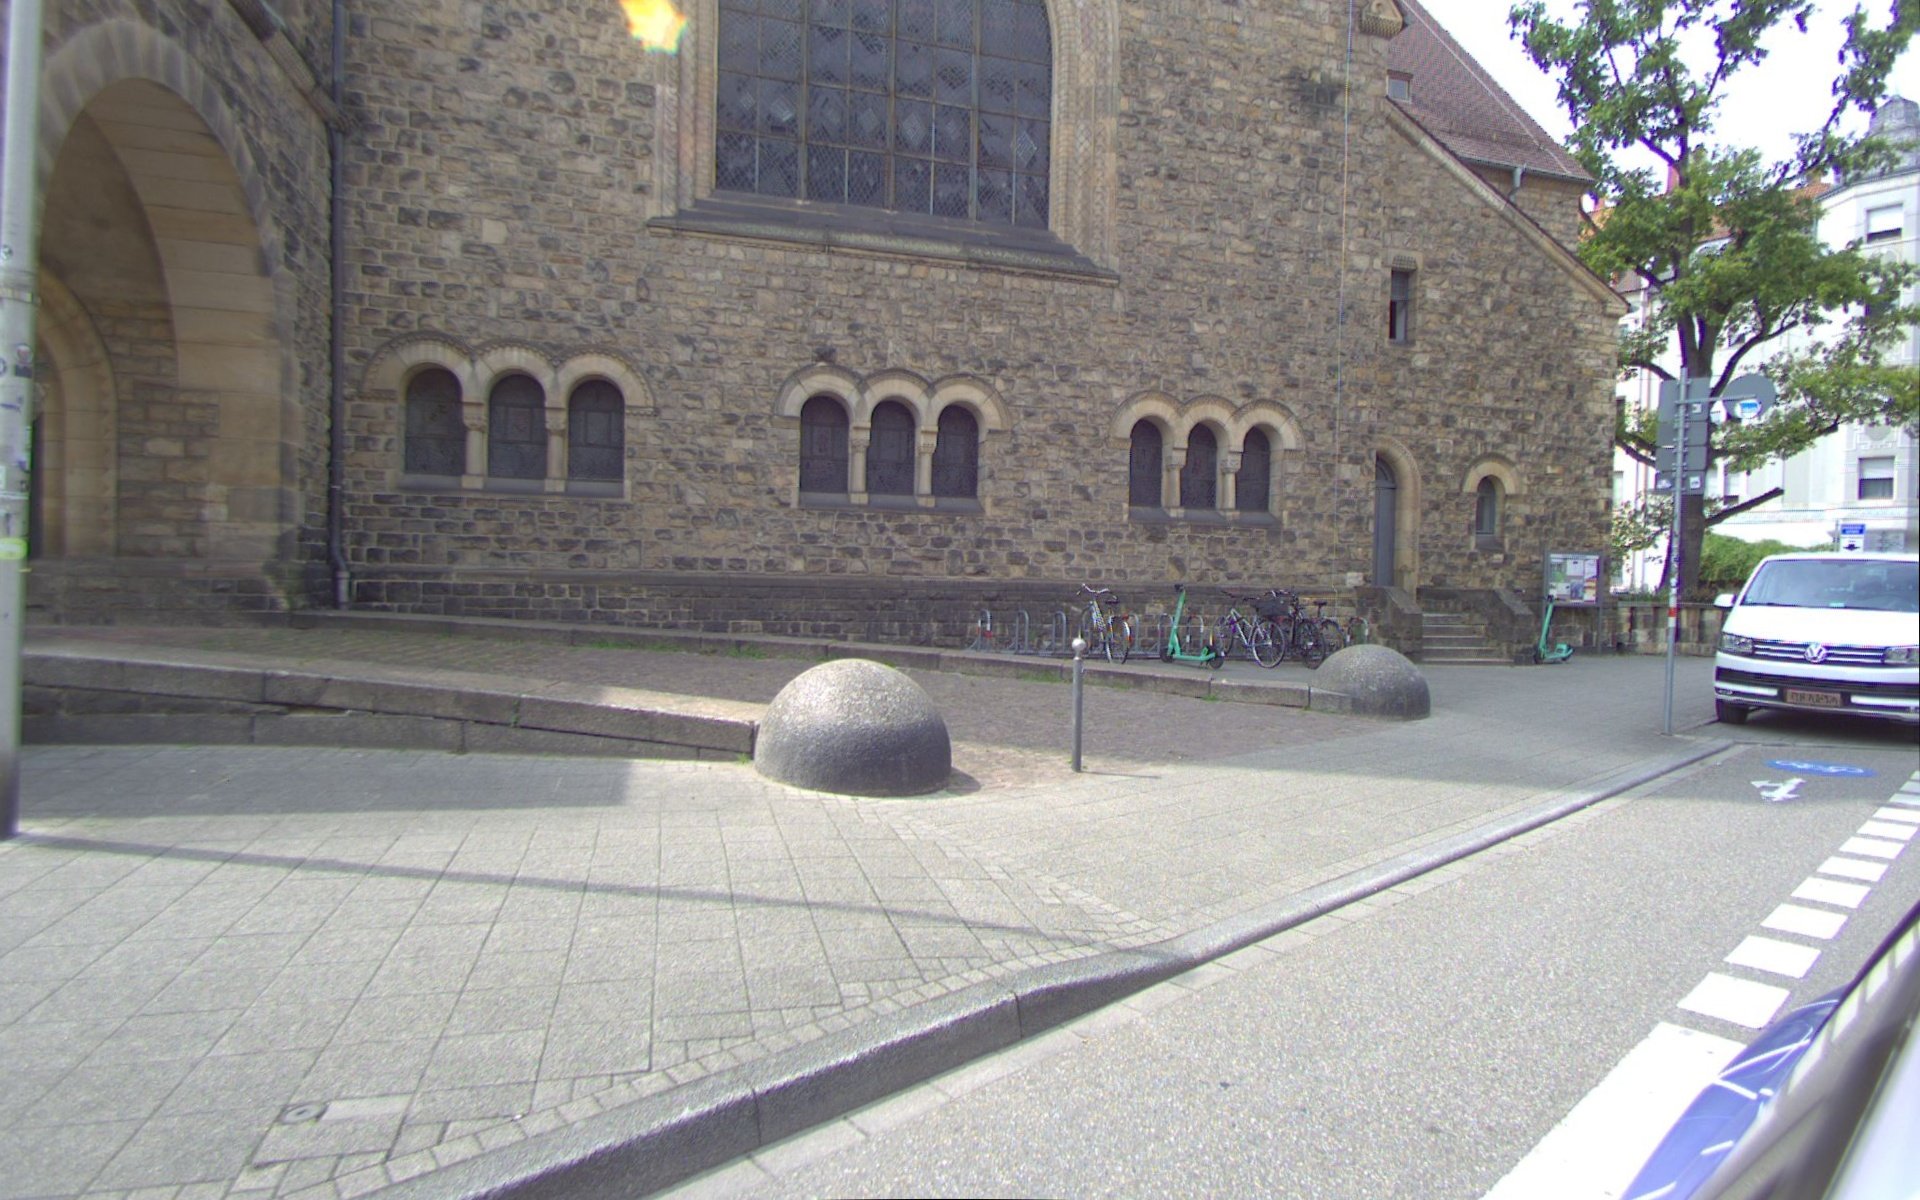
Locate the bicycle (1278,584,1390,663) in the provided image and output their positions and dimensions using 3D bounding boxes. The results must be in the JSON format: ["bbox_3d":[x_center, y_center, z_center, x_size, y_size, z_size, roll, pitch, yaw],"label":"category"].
[{"bbox_3d":[5.740,0.334,15.650,0.534,1.125,1.786,1,1,-21],"label":"bicycle"}]

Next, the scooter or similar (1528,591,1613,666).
[{"bbox_3d":[10.431,0.478,17.279,1.413,1.222,0.547,1,1,-27],"label":"scooter or similar"}]

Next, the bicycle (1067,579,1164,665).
[{"bbox_3d":[2.214,0.287,14.617,0.534,1.125,1.786,1,1,-21],"label":"bicycle"}]

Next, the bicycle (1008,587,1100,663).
[{"bbox_3d":[1.300,0.323,14.405,0.534,0.969,1.786,1,1,-21],"label":"bicycle"}]

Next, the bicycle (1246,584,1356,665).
[{"bbox_3d":[5.152,0.340,15.405,0.534,1.125,1.779,1,1,-21],"label":"bicycle"}]

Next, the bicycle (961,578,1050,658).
[{"bbox_3d":[0.603,0.218,14.188,0.534,0.969,1.787,1,3,-21],"label":"bicycle"}]

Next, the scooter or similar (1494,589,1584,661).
[{"bbox_3d":[10.259,0.437,17.941,1.450,1.222,0.547,1,1,-21],"label":"scooter or similar"}]

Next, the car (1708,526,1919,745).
[{"bbox_3d":[10.466,0.289,11.601,5.035,2.054,2.018,0,3,-42],"label":"car"}]

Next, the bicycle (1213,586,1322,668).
[{"bbox_3d":[4.580,0.372,15.206,0.534,1.125,1.786,1,1,-21],"label":"bicycle"}]

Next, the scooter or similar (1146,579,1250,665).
[{"bbox_3d":[3.460,0.297,14.857,0.534,1.154,1.786,1,1,-21],"label":"scooter or similar"}]
